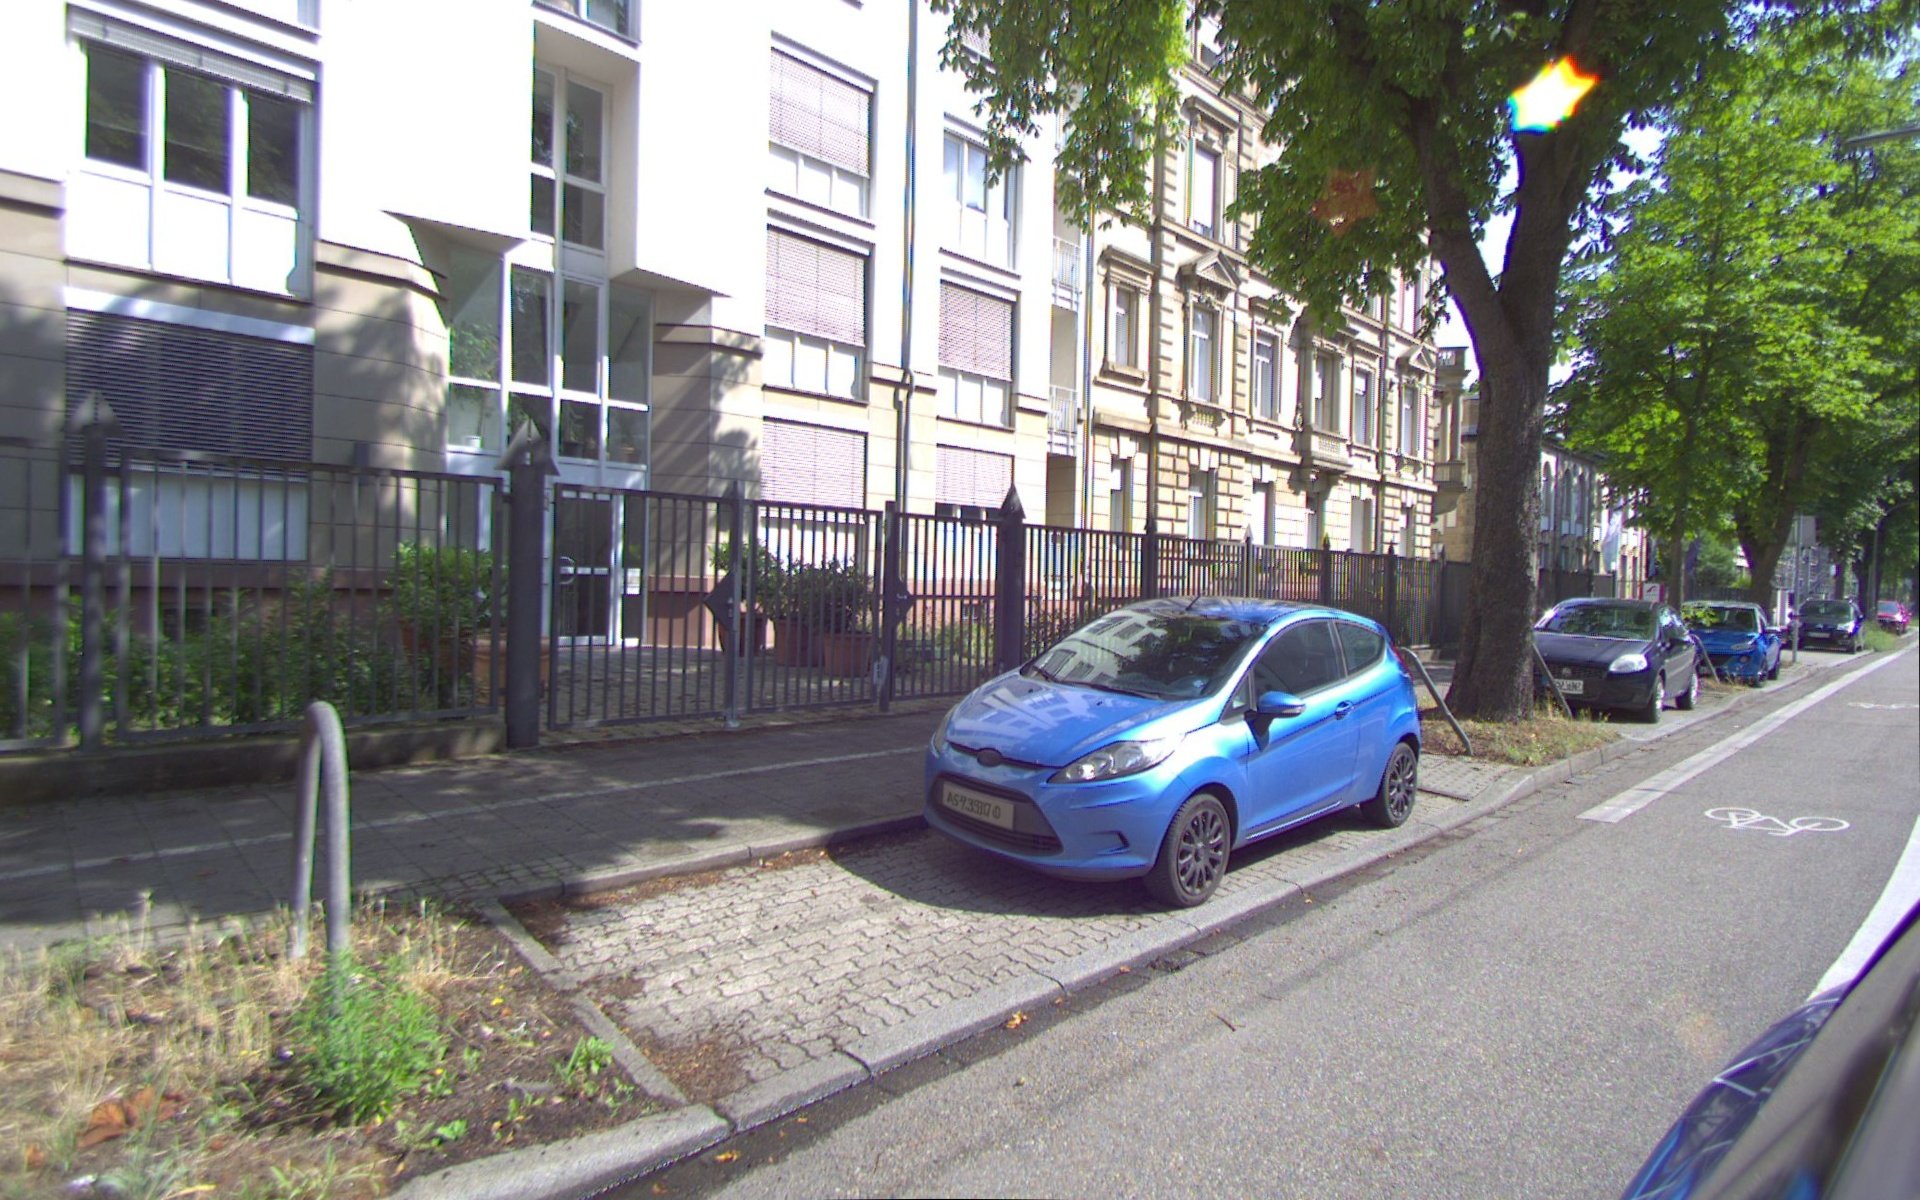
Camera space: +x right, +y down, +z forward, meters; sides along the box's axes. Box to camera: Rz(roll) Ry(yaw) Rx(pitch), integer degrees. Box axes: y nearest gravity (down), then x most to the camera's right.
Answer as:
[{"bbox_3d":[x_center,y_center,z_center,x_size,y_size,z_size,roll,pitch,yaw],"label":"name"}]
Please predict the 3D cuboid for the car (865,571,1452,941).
[{"bbox_3d":[1.425,0.648,6.214,3.784,1.514,1.626,0,3,-44],"label":"car"}]

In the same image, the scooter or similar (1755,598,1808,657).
[{"bbox_3d":[19.420,0.634,23.946,0.436,1.315,1.177,5,2,15],"label":"scooter or similar"}]

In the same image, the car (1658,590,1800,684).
[{"bbox_3d":[14.445,0.613,18.941,1.641,1.514,3.569,4,3,44],"label":"car"}]

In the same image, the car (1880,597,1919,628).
[{"bbox_3d":[49.347,0.634,52.882,1.599,1.445,3.545,6,5,40],"label":"car"}]

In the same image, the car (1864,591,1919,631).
[{"bbox_3d":[43.935,0.491,47.637,1.877,1.696,4.214,4,3,44],"label":"car"}]

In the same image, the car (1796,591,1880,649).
[{"bbox_3d":[27.784,0.574,31.985,1.698,1.610,4.135,4,3,44],"label":"car"}]

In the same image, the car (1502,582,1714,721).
[{"bbox_3d":[8.684,0.575,13.444,1.640,1.514,3.698,4,3,44],"label":"car"}]
